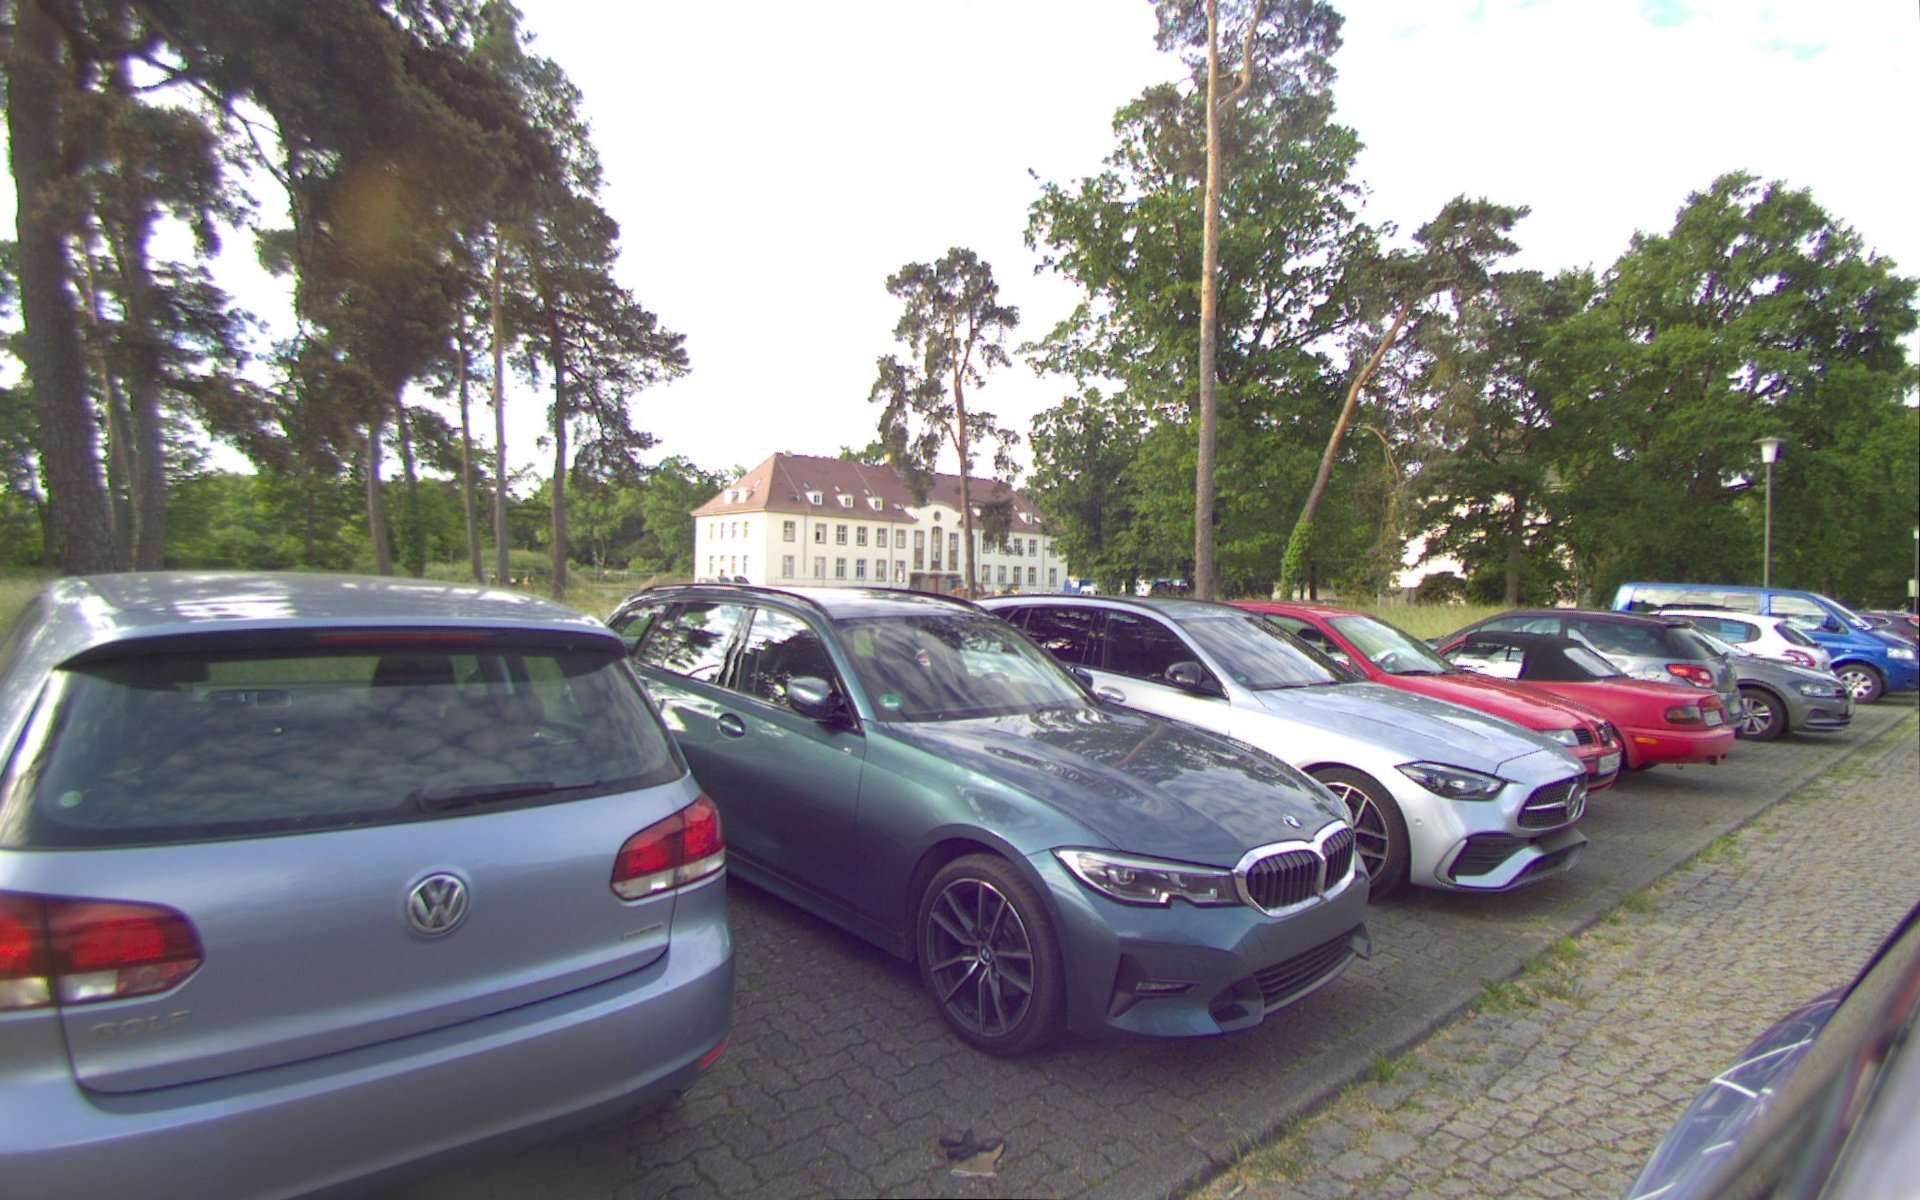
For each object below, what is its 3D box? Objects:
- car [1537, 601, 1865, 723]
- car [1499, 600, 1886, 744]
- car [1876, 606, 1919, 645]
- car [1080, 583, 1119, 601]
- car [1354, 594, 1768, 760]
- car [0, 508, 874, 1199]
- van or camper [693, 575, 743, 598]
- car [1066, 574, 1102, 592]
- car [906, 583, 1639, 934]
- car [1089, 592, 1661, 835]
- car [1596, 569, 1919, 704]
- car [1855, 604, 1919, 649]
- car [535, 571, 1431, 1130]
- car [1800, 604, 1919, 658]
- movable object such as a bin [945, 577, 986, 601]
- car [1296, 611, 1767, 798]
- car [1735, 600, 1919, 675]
[{"bbox_3d":[11.143,0.832,15.429,1.553,1.518,3.761,1,1,-39],"label":"car"},{"bbox_3d":[9.323,0.800,13.127,1.613,1.484,3.780,1,1,-39],"label":"car"},{"bbox_3d":[40.130,1.092,41.282,1.642,1.548,3.839,1,1,-37],"label":"car"},{"bbox_3d":[14.365,-0.801,104.066,3.865,1.704,1.848,1,2,-39],"label":"car"},{"bbox_3d":[6.790,0.740,11.747,1.576,1.522,3.834,1,1,-41],"label":"car"},{"bbox_3d":[-2.122,0.573,3.321,1.614,1.489,3.846,1,1,-43],"label":"car"},{"bbox_3d":[-25.009,-1.413,104.376,6.060,2.251,1.970,2,1,42],"label":"van or camper"},{"bbox_3d":[15.044,-2.085,122.918,3.925,2.039,2.219,1,1,-37],"label":"car"},{"bbox_3d":[1.698,0.685,6.693,1.737,1.446,4.332,1,2,-42],"label":"car"},{"bbox_3d":[3.188,0.703,8.474,1.689,1.441,4.115,1,1,-41],"label":"car"},{"bbox_3d":[15.119,0.557,18.990,2.024,2.047,4.953,1,3,-40],"label":"car"},{"bbox_3d":[36.613,1.028,38.293,1.552,1.638,3.839,1,1,-37],"label":"car"},{"bbox_3d":[-0.333,0.648,5.036,1.777,1.502,4.517,1,1,-44],"label":"car"},{"bbox_3d":[28.842,0.964,31.649,1.555,1.544,3.830,1,1,-45],"label":"car"},{"bbox_3d":[0.704,-1.350,121.941,1.993,2.802,5.122,2,1,43],"label":"movable object such as a bin"},{"bbox_3d":[5.227,0.835,9.606,1.579,1.303,3.554,2,0,-40],"label":"car"},{"bbox_3d":[21.419,0.875,24.680,1.555,1.621,3.830,1,1,-45],"label":"car"}]
